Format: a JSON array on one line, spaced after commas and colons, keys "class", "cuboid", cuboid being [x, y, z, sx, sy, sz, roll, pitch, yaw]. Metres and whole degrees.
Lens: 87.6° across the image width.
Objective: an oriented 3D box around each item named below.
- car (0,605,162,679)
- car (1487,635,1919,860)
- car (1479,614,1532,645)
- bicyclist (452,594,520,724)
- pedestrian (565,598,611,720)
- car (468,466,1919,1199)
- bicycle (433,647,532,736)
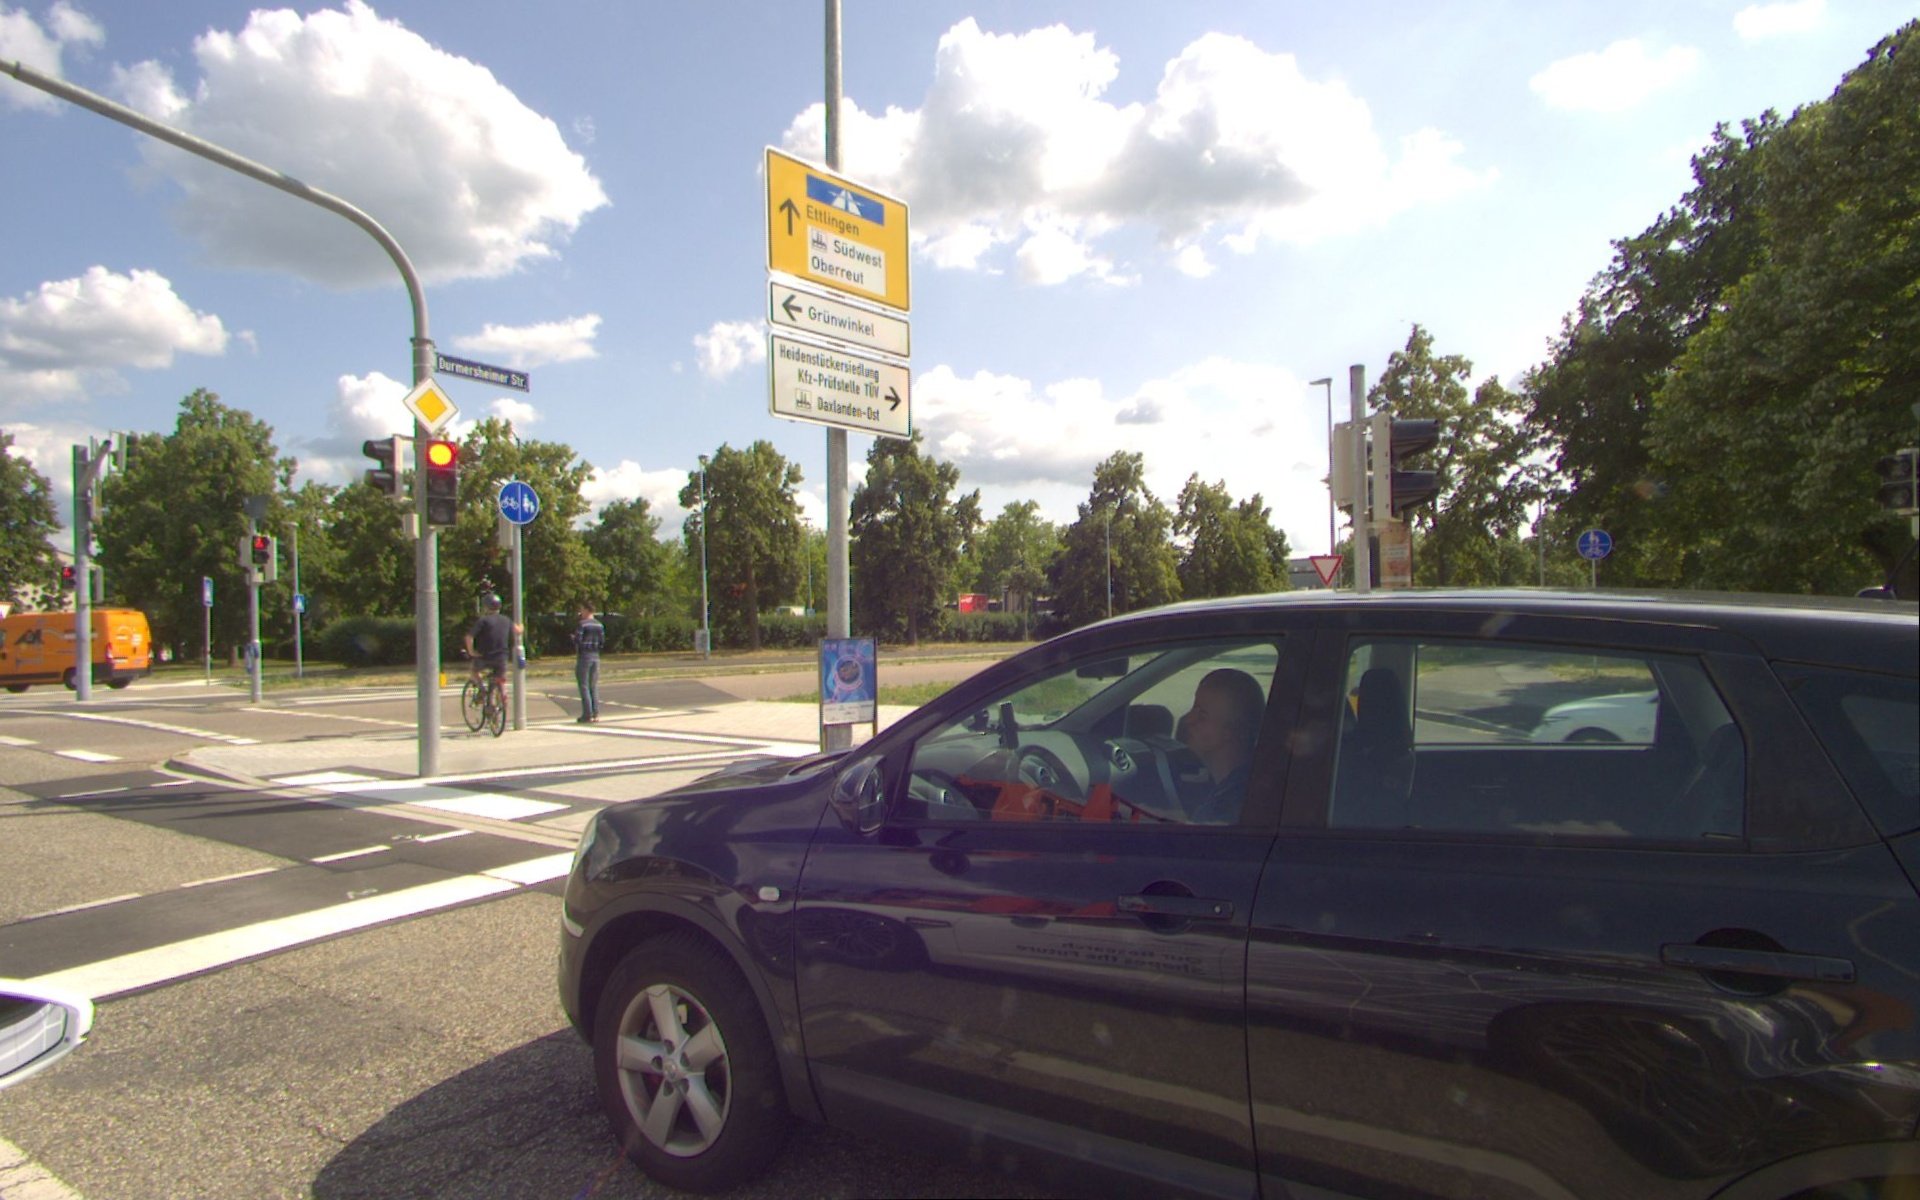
[{"class": "car", "cuboid": [-28.855, 1.363, 31.976, 4.767, 2.253, 2.213, 0, -3, -7]}, {"class": "car", "cuboid": [6.779, 1.065, 8.242, 1.713, 1.505, 4.072, 1, -1, -29]}, {"class": "car", "cuboid": [23.147, 1.275, 42.582, 1.886, 1.192, 3.767, -2, -4, 27]}, {"class": "bicyclist", "cuboid": [-6.367, 0.790, 13.453, 0.644, 1.682, 0.644, 2, -4, -44]}, {"class": "pedestrian", "cuboid": [-5.606, 0.890, 15.110, 0.477, 1.800, 0.462, -2, -3, 42]}, {"class": "car", "cuboid": [0.684, 0.687, 2.771, 3.941, 1.571, 1.798, -2, -4, 31]}, {"class": "bicycle", "cuboid": [-6.501, 1.214, 13.576, 0.644, 1.121, 1.910, 3, -4, -43]}]
